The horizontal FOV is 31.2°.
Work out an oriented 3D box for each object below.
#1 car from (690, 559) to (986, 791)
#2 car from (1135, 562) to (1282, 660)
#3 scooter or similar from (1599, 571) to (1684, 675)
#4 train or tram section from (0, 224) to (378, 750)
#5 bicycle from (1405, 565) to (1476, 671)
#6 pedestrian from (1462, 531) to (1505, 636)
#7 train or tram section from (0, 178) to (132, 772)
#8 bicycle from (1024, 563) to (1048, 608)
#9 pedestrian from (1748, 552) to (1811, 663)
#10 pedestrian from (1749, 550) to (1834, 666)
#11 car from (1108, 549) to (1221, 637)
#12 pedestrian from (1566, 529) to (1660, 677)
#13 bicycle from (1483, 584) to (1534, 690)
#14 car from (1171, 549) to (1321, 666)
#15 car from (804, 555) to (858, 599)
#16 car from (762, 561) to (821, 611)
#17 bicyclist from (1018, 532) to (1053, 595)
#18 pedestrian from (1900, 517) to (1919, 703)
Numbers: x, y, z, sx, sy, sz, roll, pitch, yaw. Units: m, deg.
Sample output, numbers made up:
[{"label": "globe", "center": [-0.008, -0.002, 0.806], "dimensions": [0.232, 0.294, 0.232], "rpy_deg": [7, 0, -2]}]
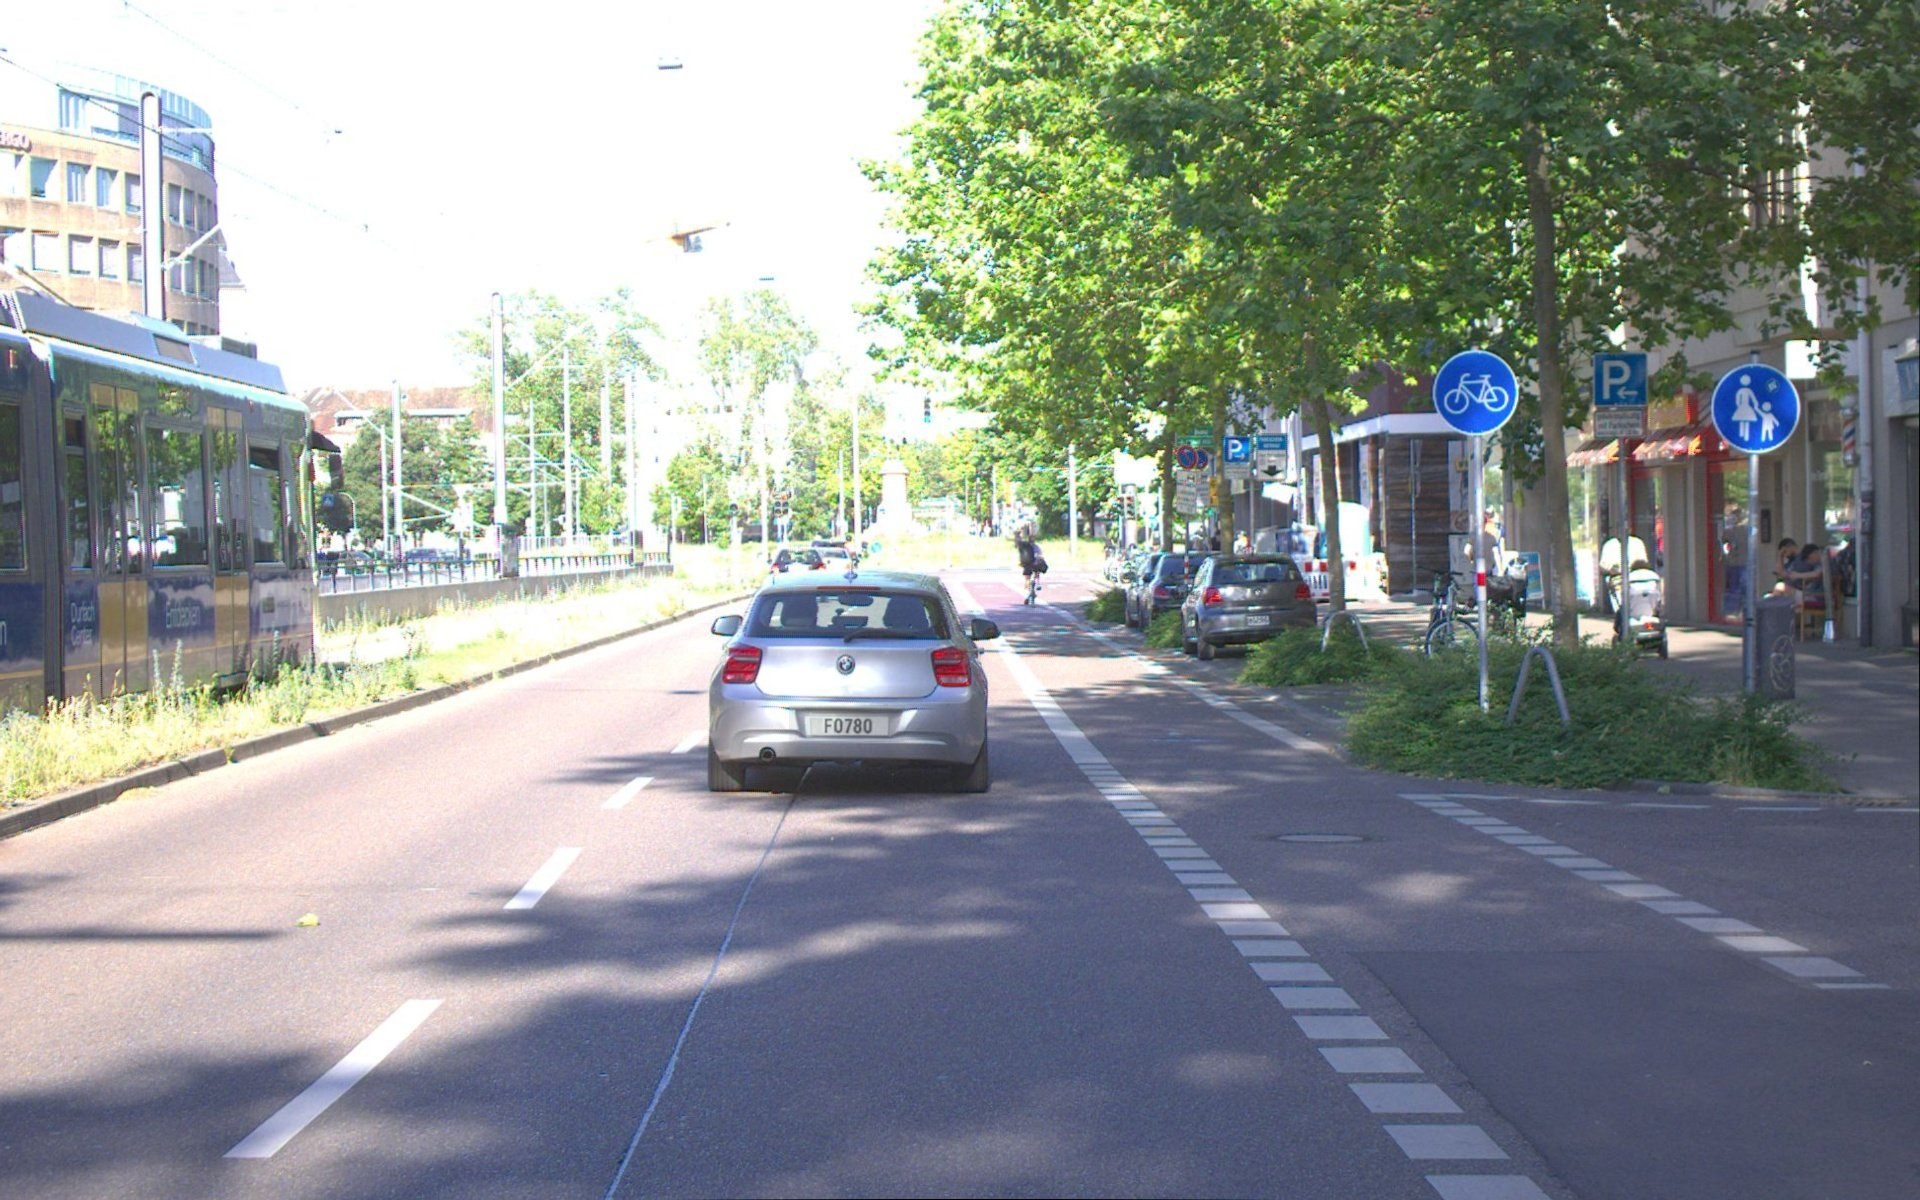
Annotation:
[{"label": "car", "center": [-0.796, 0.439, 22.912], "dimensions": [1.798, 1.410, 4.000], "rpy_deg": [0, 0, -2]}, {"label": "car", "center": [4.037, 0.151, 56.553], "dimensions": [2.038, 1.504, 4.594], "rpy_deg": [-1, 1, -1]}, {"label": "scooter or similar", "center": [7.819, 0.254, 39.487], "dimensions": [0.744, 1.167, 0.849], "rpy_deg": [-1, 0, -4]}, {"label": "train or tram section", "center": [-7.690, -0.885, 30.879], "dimensions": [2.952, 3.883, 10.802], "rpy_deg": [1, 0, 0]}, {"label": "bicycle", "center": [5.657, 0.217, 40.550], "dimensions": [0.392, 1.211, 1.903], "rpy_deg": [-2, -1, -4]}, {"label": "pedestrian", "center": [8.557, -0.274, 56.199], "dimensions": [0.558, 1.705, 0.770], "rpy_deg": [-1, 1, 0]}, {"label": "train or tram section", "center": [-7.711, -0.840, 23.468], "dimensions": [2.955, 3.884, 3.865], "rpy_deg": [1, 0, 3]}, {"label": "bicycle", "center": [1.825, -0.354, 82.963], "dimensions": [0.499, 1.085, 1.997], "rpy_deg": [1, 0, 0]}, {"label": "pedestrian", "center": [10.048, 0.088, 42.166], "dimensions": [0.535, 1.328, 0.820], "rpy_deg": [-2, 0, 0]}, {"label": "pedestrian", "center": [9.979, 0.093, 41.283], "dimensions": [0.785, 1.364, 0.857], "rpy_deg": [-2, 0, 0]}, {"label": "car", "center": [3.780, -0.158, 64.082], "dimensions": [1.789, 1.550, 4.436], "rpy_deg": [-1, 1, -1]}, {"label": "pedestrian", "center": [7.689, 0.032, 40.510], "dimensions": [0.859, 1.699, 0.917], "rpy_deg": [-2, 0, -3]}, {"label": "bicycle", "center": [6.505, 0.424, 40.719], "dimensions": [0.386, 1.203, 1.872], "rpy_deg": [0, 1, 16]}, {"label": "car", "center": [4.017, 0.070, 48.800], "dimensions": [1.694, 1.497, 3.801], "rpy_deg": [-3, 1, -1]}, {"label": "car", "center": [-4.221, -0.751, 112.725], "dimensions": [1.644, 1.416, 4.000], "rpy_deg": [0, 0, 0]}, {"label": "car", "center": [-5.130, -0.434, 104.554], "dimensions": [1.726, 1.465, 4.411], "rpy_deg": [0, 0, -3]}, {"label": "bicyclist", "center": [1.826, -0.880, 83.098], "dimensions": [0.785, 1.526, 0.895], "rpy_deg": [1, 0, 0]}, {"label": "pedestrian", "center": [8.661, 0.083, 30.105], "dimensions": [0.682, 1.616, 0.562], "rpy_deg": [0, 0, -3]}]
